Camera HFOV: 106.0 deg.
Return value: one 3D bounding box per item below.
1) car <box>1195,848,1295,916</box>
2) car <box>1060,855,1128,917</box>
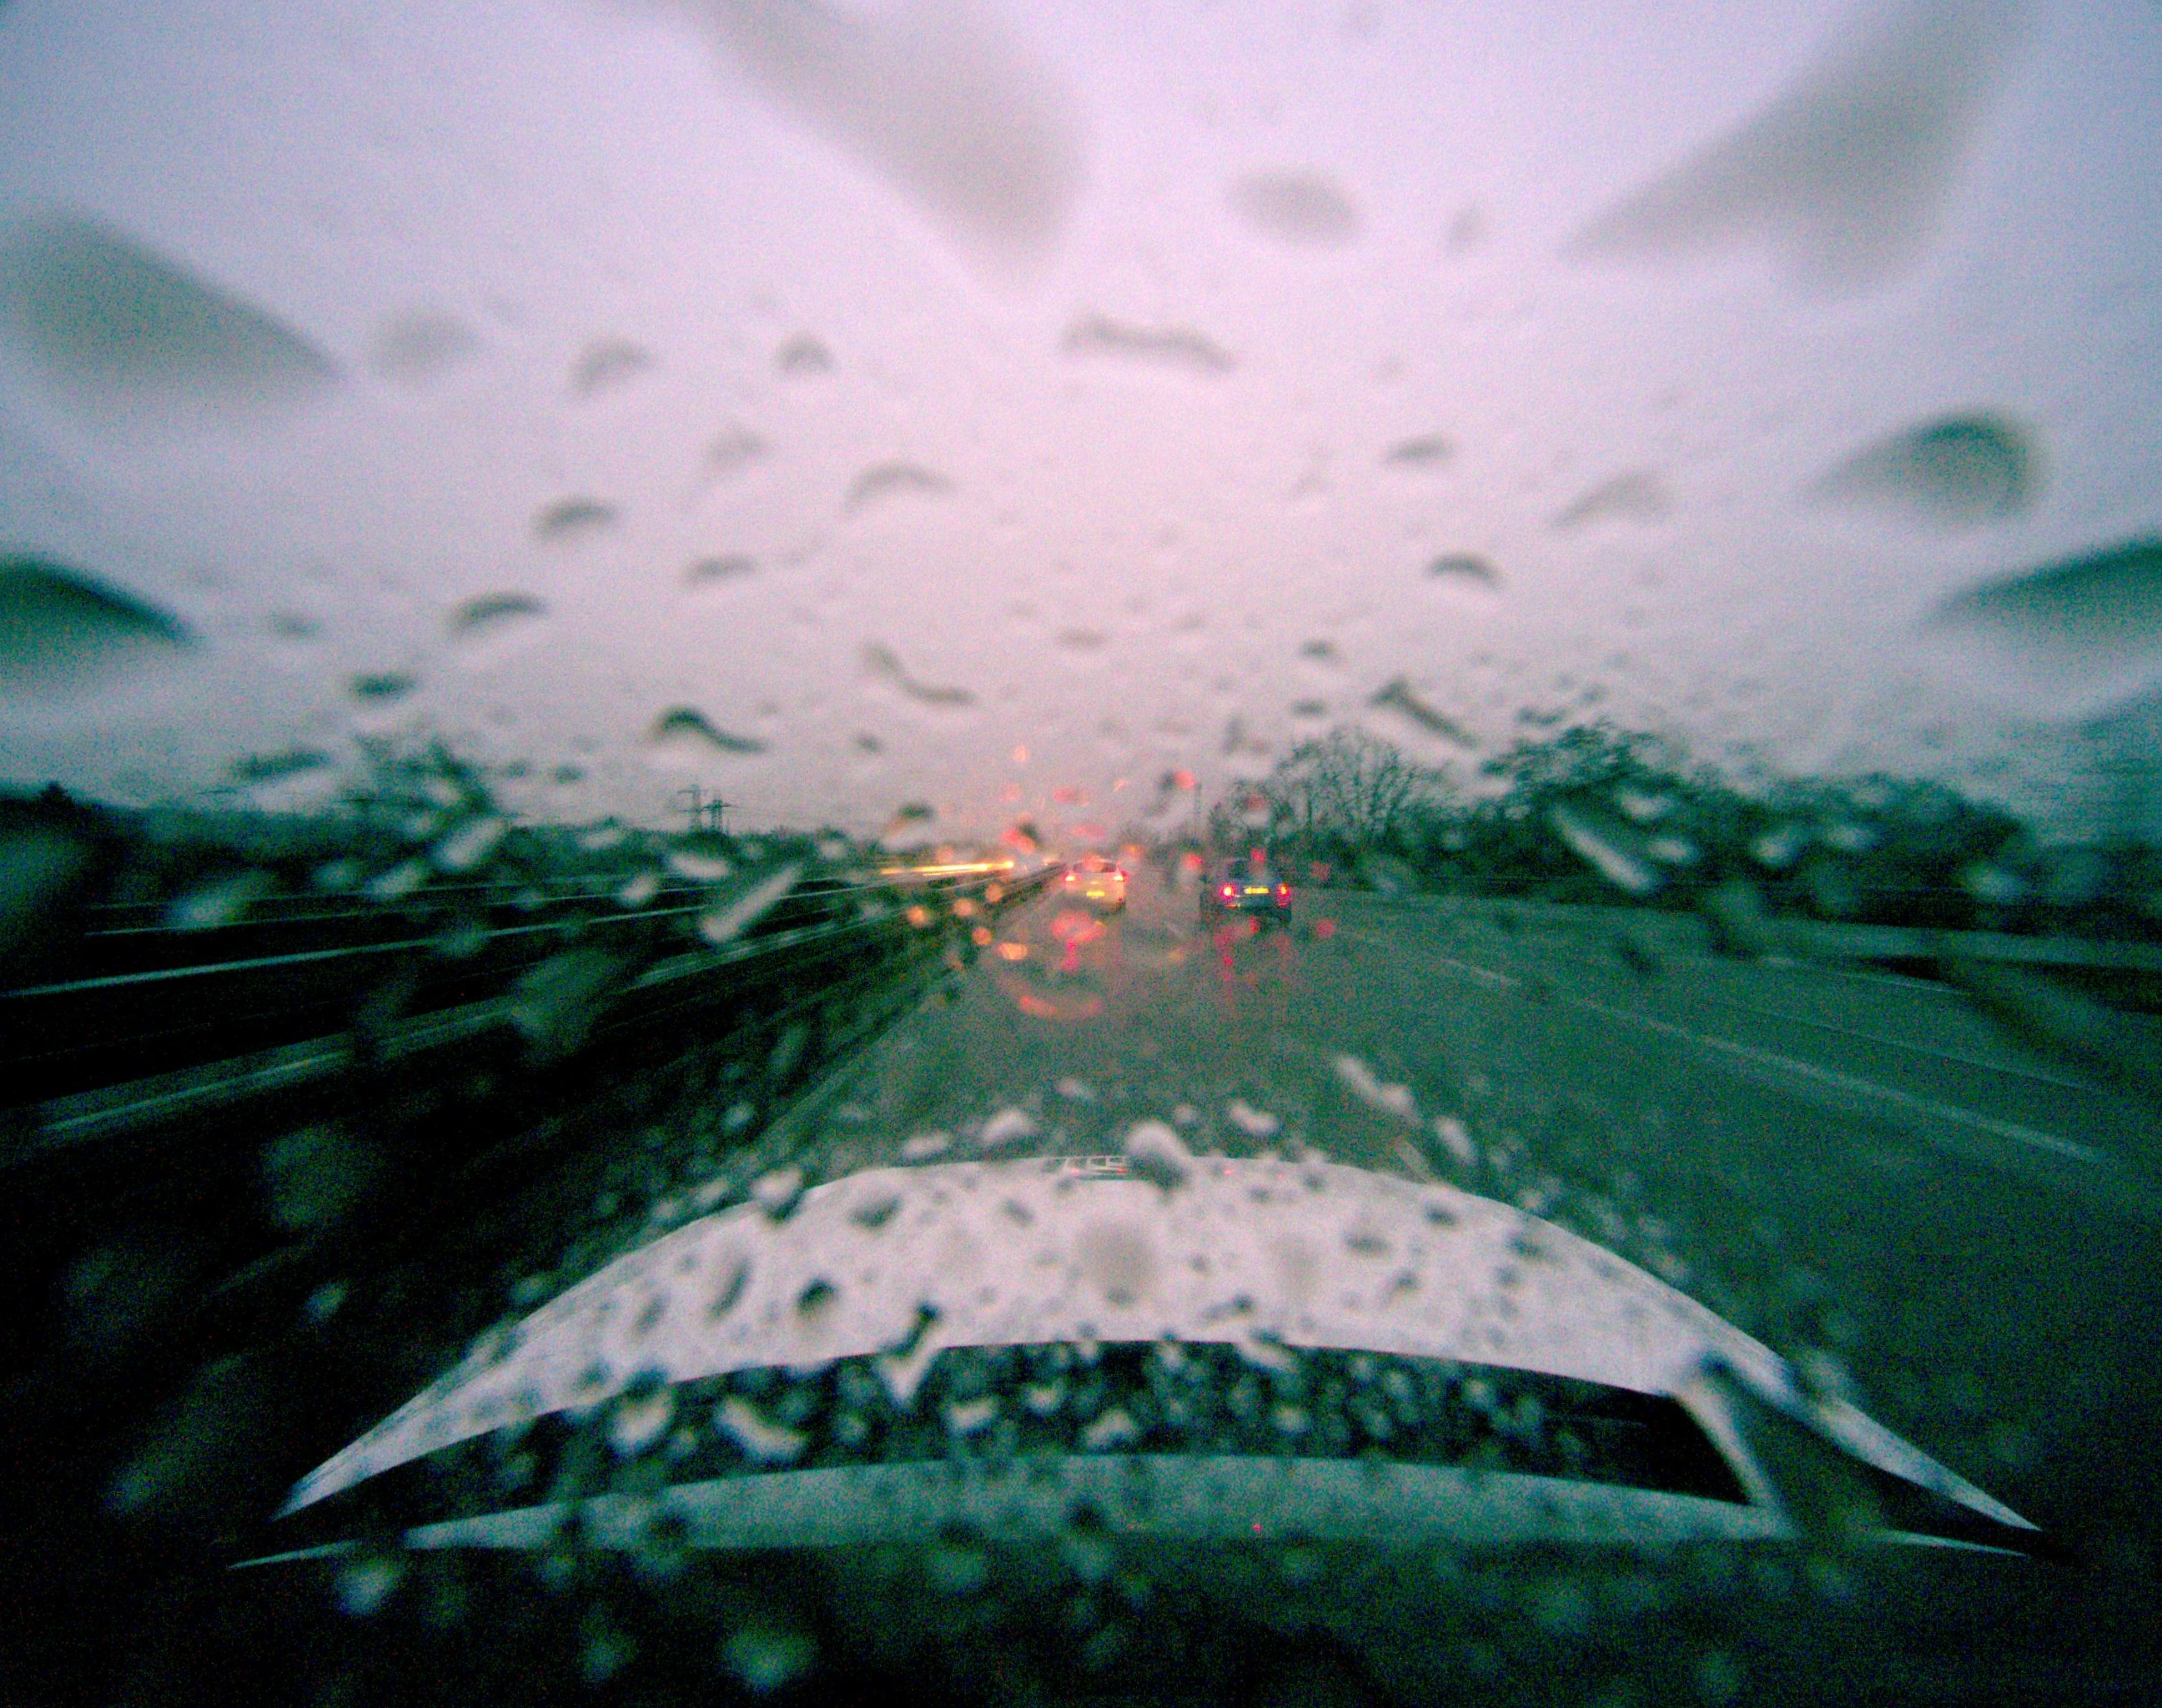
[{"bbox_3d":[3.836,0.599,19.712,1.837,1.453,4.153,-1,0,4],"label":"car"},{"bbox_3d":[0.375,0.889,24.540,1.839,1.636,3.768,-2,0,0],"label":"car"}]
